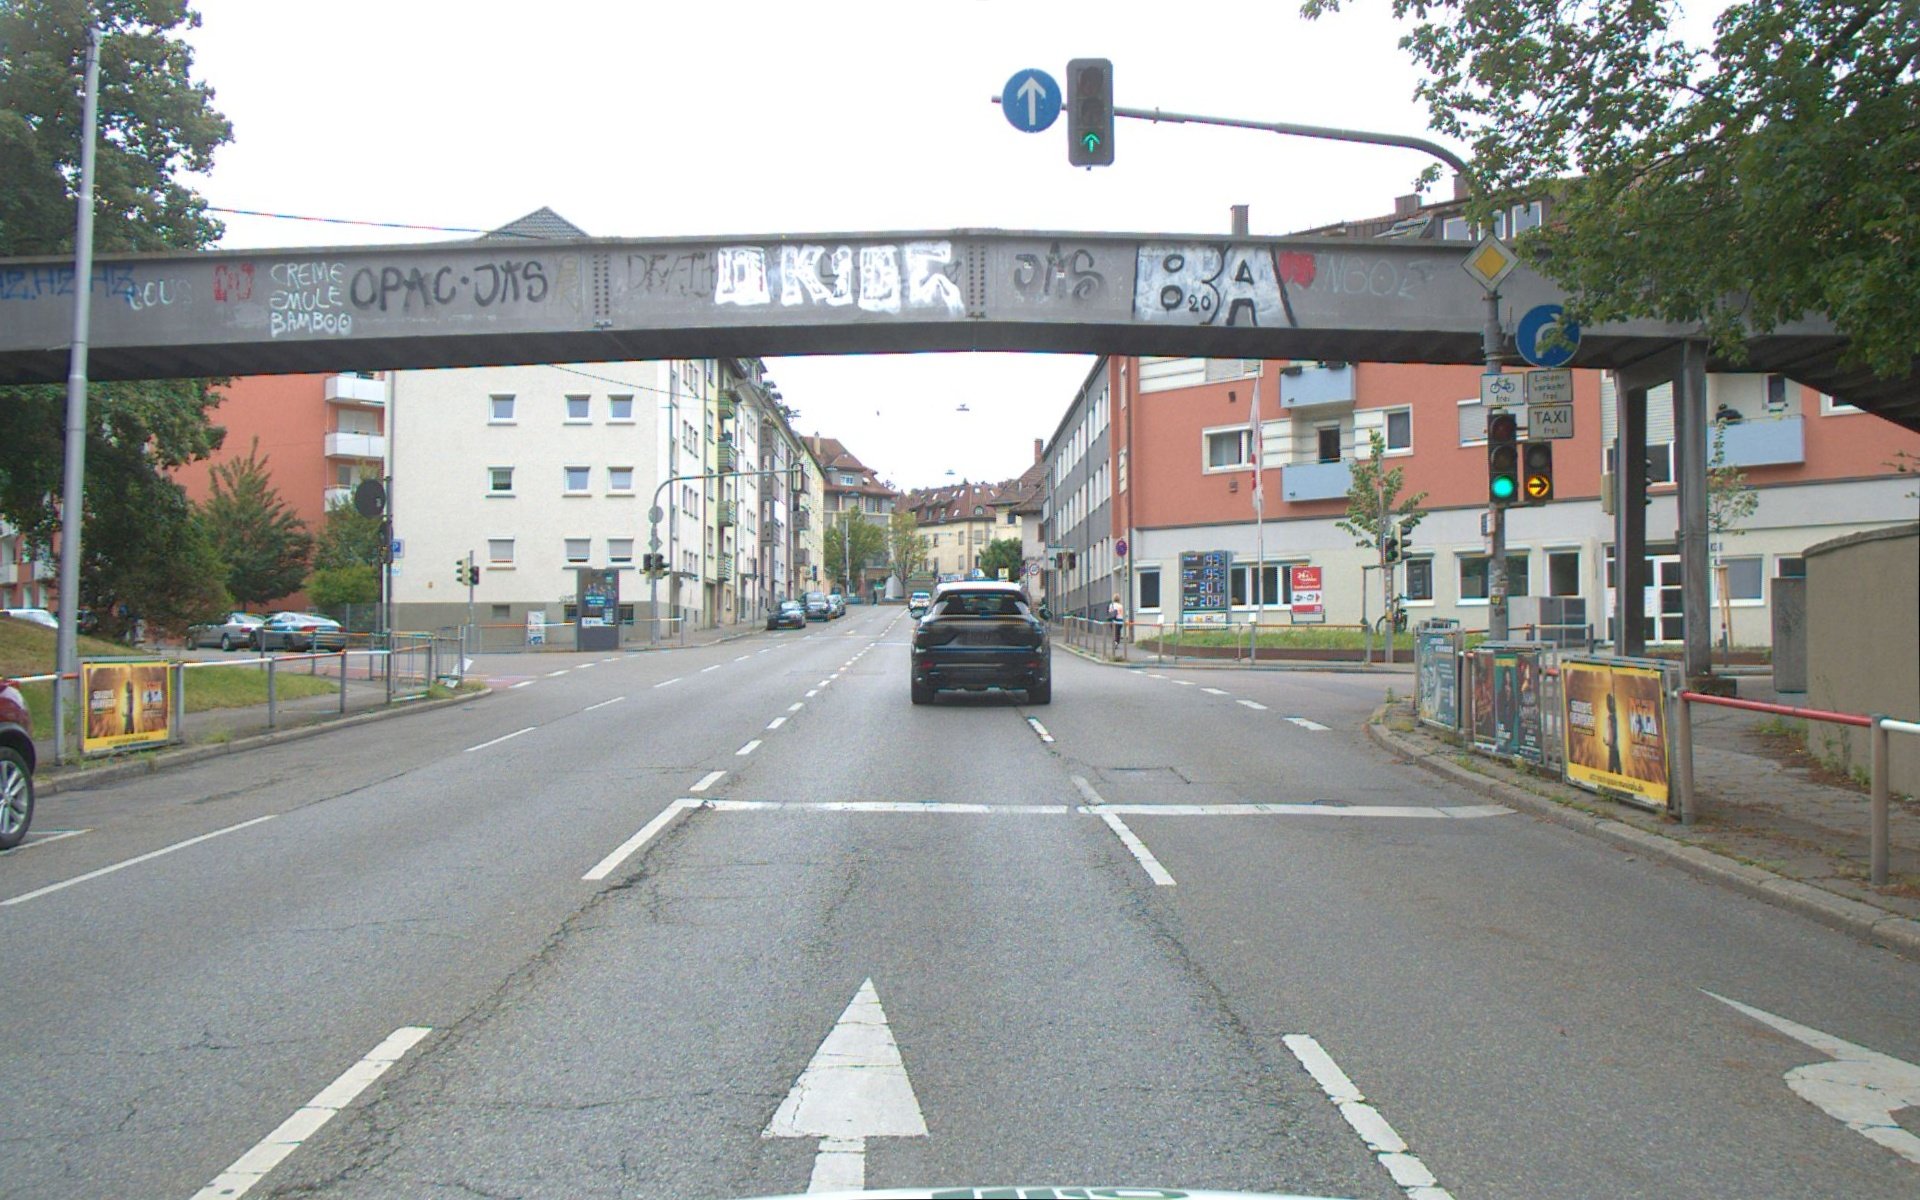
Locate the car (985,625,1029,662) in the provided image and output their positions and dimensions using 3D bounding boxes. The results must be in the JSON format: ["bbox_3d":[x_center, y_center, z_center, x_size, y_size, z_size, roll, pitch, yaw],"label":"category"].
[{"bbox_3d":[1.968,1.834,70.508,1.706,1.424,4.000,0,1,-1],"label":"car"}]

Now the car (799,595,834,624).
[{"bbox_3d":[-8.534,0.538,98.567,1.729,1.679,3.999,-1,0,-1],"label":"car"}]

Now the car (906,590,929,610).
[{"bbox_3d":[-3.304,-0.035,129.801,1.729,1.534,3.999,-1,0,-1],"label":"car"}]

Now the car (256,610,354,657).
[{"bbox_3d":[-22.729,1.138,57.333,1.794,1.536,3.935,-1,0,-44],"label":"car"}]

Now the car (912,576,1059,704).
[{"bbox_3d":[0.307,0.509,23.961,1.953,1.691,4.000,0,1,-1],"label":"car"}]

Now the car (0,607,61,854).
[{"bbox_3d":[-6.872,0.866,9.291,1.502,1.567,3.981,-2,0,-1],"label":"car"}]

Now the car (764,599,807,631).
[{"bbox_3d":[-8.663,0.737,82.140,1.729,1.534,3.999,-1,0,-1],"label":"car"}]

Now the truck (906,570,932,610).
[{"bbox_3d":[-3.731,-0.871,150.057,2.221,3.484,9.875,-1,0,-1],"label":"truck"}]

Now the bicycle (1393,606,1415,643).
[{"bbox_3d":[11.395,0.613,42.439,0.333,0.919,1.743,0,0,22],"label":"bicycle"}]

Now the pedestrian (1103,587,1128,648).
[{"bbox_3d":[4.696,0.520,49.978,0.640,1.823,0.714,0,0,-4],"label":"pedestrian"}]

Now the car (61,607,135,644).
[{"bbox_3d":[-37.354,1.093,71.638,1.794,1.536,3.935,-1,0,-44],"label":"car"}]

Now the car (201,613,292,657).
[{"bbox_3d":[-26.230,1.259,60.769,1.794,1.536,3.935,-1,0,-44],"label":"car"}]
